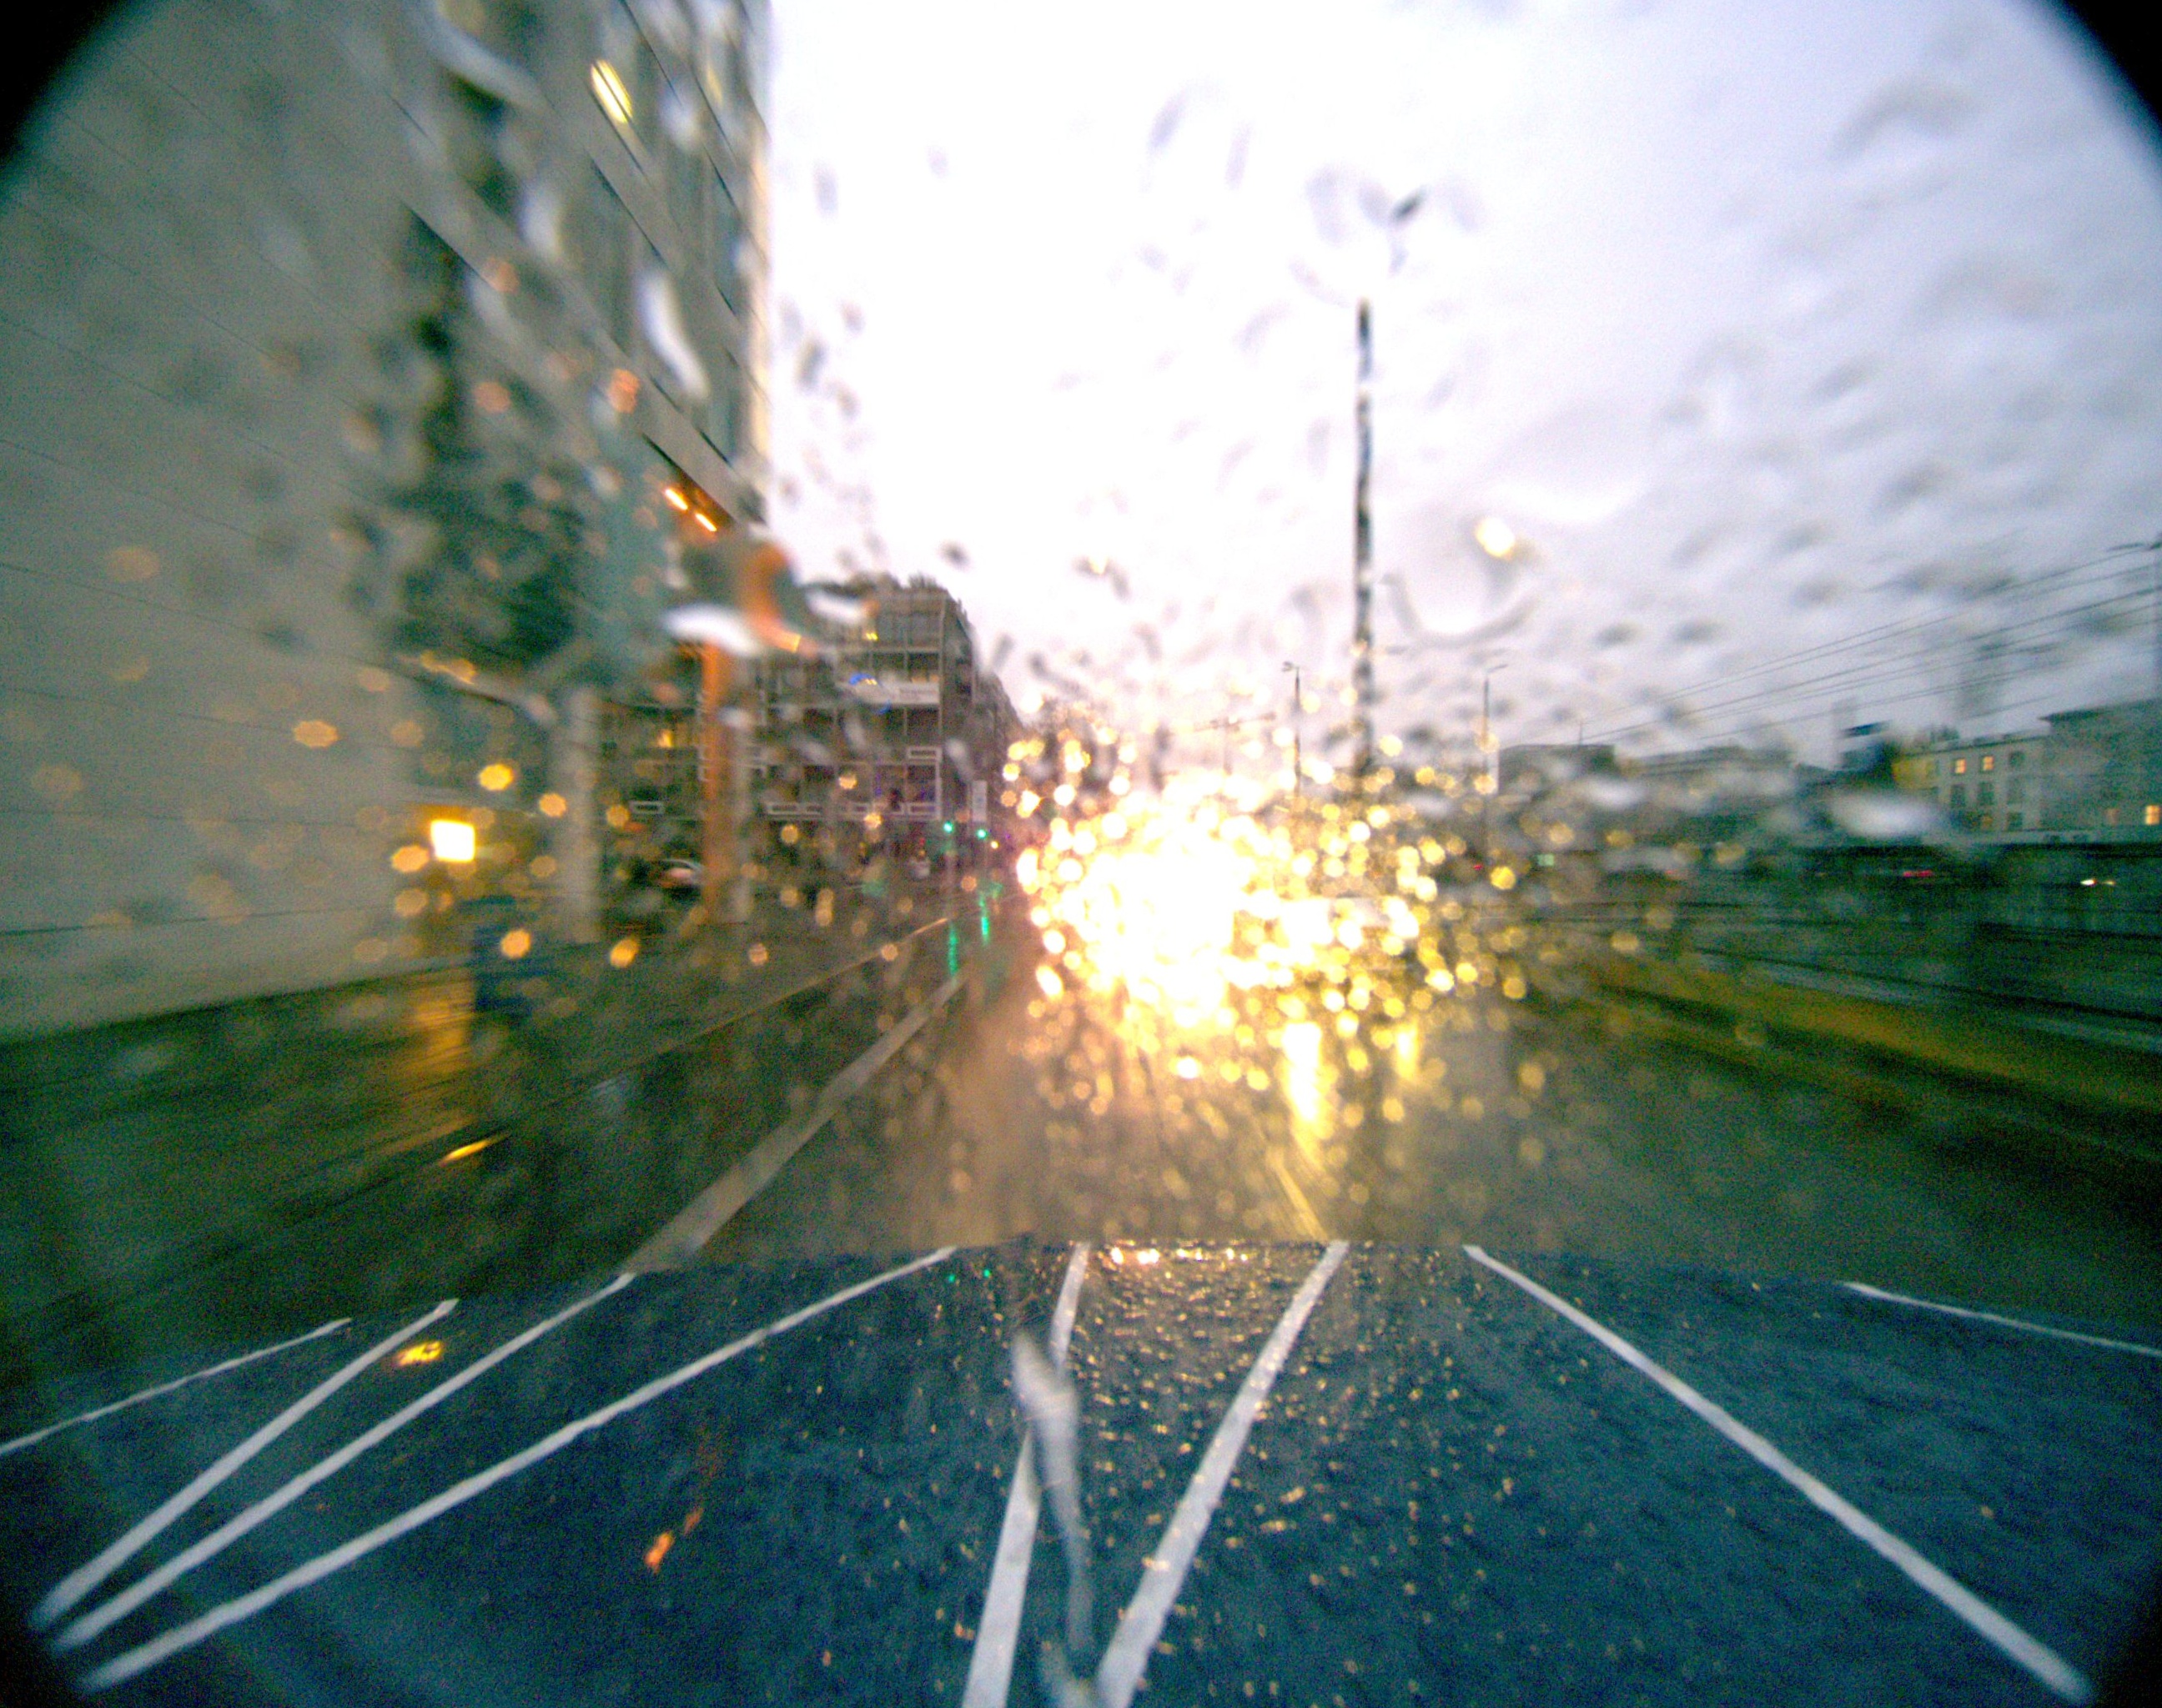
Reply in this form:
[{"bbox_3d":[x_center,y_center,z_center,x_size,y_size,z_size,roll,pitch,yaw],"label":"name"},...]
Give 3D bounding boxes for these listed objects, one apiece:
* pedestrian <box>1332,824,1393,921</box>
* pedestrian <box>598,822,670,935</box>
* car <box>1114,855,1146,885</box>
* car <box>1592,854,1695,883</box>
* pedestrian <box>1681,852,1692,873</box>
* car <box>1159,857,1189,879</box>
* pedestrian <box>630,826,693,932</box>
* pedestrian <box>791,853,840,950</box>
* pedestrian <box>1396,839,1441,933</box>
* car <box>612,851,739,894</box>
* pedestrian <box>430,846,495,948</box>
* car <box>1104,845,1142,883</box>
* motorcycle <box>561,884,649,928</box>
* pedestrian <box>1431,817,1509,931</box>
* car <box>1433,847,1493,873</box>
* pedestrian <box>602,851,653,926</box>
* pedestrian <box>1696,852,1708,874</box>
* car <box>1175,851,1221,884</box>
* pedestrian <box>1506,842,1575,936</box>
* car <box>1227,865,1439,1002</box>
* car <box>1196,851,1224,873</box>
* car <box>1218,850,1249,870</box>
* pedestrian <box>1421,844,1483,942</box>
[{"bbox_3d":[6.455,0.409,17.483,0.906,2.133,1.017,-1,1,-11],"label":"pedestrian"},{"bbox_3d":[-8.898,0.479,15.149,0.960,2.179,0.711,0,1,12],"label":"pedestrian"},{"bbox_3d":[3.422,1.080,53.794,1.998,2.002,4.000,-1,1,1],"label":"car"},{"bbox_3d":[31.487,0.777,42.717,2.000,1.472,4.435,-1,0,-11],"label":"car"},{"bbox_3d":[47.989,0.655,60.251,0.655,1.656,0.743,1,1,37],"label":"pedestrian"},{"bbox_3d":[7.255,1.062,59.485,1.867,1.652,3.986,-1,1,1],"label":"car"},{"bbox_3d":[-8.748,0.511,15.858,0.965,2.149,0.581,0,1,12],"label":"pedestrian"},{"bbox_3d":[-4.728,0.836,13.567,0.707,1.685,0.723,1,0,-11],"label":"pedestrian"},{"bbox_3d":[6.433,0.595,14.477,0.665,1.725,0.606,0,3,37],"label":"pedestrian"},{"bbox_3d":[-15.379,0.678,28.967,3.824,1.483,1.857,0,2,3],"label":"car"},{"bbox_3d":[-11.165,0.757,13.734,0.616,1.794,0.624,-1,0,1],"label":"pedestrian"},{"bbox_3d":[2.165,0.475,40.012,1.865,1.867,4.000,-1,0,2],"label":"car"},{"bbox_3d":[-10.165,1.102,16.231,1.636,0.884,0.394,-1,0,2],"label":"motorcycle"},{"bbox_3d":[7.854,0.376,15.348,1.054,2.195,0.956,-1,1,-26],"label":"pedestrian"},{"bbox_3d":[30.912,0.449,61.655,2.000,2.002,4.788,-1,0,-8],"label":"car"},{"bbox_3d":[-9.917,0.740,16.645,0.779,1.598,0.501,-1,0,1],"label":"pedestrian"},{"bbox_3d":[48.680,0.693,59.590,0.655,1.652,0.743,1,1,37],"label":"pedestrian"},{"bbox_3d":[6.245,0.671,40.993,1.998,1.673,4.000,-1,0,2],"label":"car"},{"bbox_3d":[8.690,0.631,14.390,0.862,1.704,0.763,-1,1,-26],"label":"pedestrian"},{"bbox_3d":[3.230,0.934,10.631,1.813,1.464,4.140,-1,0,4],"label":"car"},{"bbox_3d":[11.808,0.713,69.714,1.952,1.870,4.001,-2,0,2],"label":"car"},{"bbox_3d":[12.230,0.484,61.088,1.799,1.521,3.929,-2,0,2],"label":"car"},{"bbox_3d":[6.730,0.681,13.795,0.655,1.708,0.748,-1,1,-26],"label":"pedestrian"}]
